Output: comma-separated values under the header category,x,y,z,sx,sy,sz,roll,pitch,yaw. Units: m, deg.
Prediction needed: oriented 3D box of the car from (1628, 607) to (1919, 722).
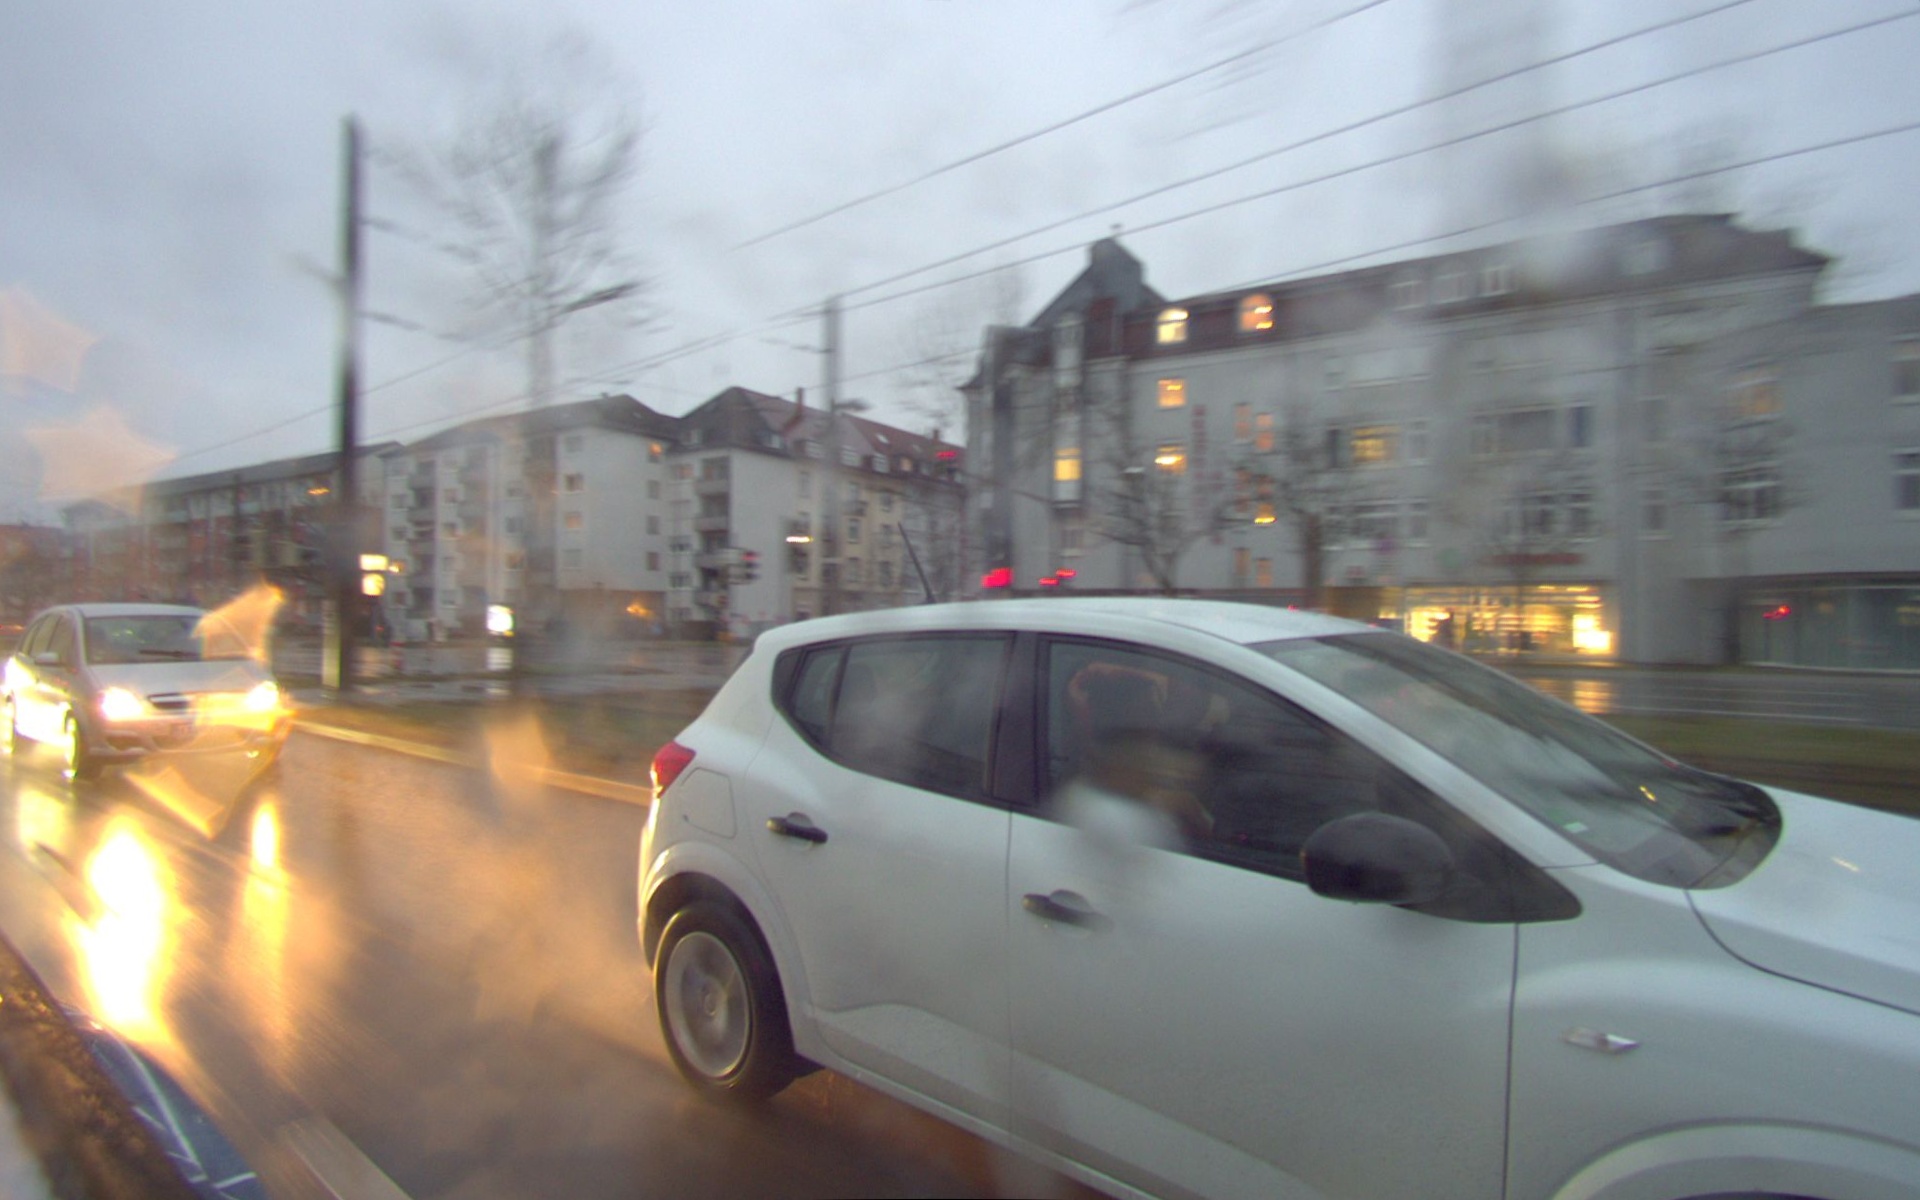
category,x,y,z,sx,sy,sz,roll,pitch,yaw
car,13.825,1.035,17.104,3.999,1.741,1.788,-2,-3,42

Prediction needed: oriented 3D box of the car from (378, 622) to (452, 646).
category,x,y,z,sx,sy,sz,roll,pitch,yaw
car,-33.852,2.094,62.943,1.690,1.377,3.775,0,0,27

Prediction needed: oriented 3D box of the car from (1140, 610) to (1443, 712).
category,x,y,z,sx,sy,sz,roll,pitch,yaw
car,5.803,0.982,17.990,4.917,1.540,1.575,0,0,32

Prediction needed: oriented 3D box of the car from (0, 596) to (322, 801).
category,x,y,z,sx,sy,sz,roll,pitch,yaw
car,-8.434,0.812,10.471,3.997,1.690,1.995,0,0,40

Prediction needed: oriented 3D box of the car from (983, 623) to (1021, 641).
category,x,y,z,sx,sy,sz,roll,pitch,yaw
car,3.451,2.601,82.407,1.486,1.371,3.397,0,0,35

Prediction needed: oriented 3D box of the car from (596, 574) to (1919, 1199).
category,x,y,z,sx,sy,sz,roll,pitch,yaw
car,0.885,0.698,2.601,3.998,1.477,1.690,0,0,41

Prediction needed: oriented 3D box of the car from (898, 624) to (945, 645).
category,x,y,z,sx,sy,sz,roll,pitch,yaw
car,-3.173,2.806,82.956,3.604,1.533,1.662,0,0,32

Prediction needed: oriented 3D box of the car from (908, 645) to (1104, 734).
category,x,y,z,sx,sy,sz,roll,pitch,yaw
car,0.991,1.895,22.337,3.985,1.618,1.792,0,0,31

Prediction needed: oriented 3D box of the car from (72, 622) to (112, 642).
category,x,y,z,sx,sy,sz,roll,pitch,yaw
car,-77.927,2.823,90.825,4.141,1.658,1.710,0,0,35
